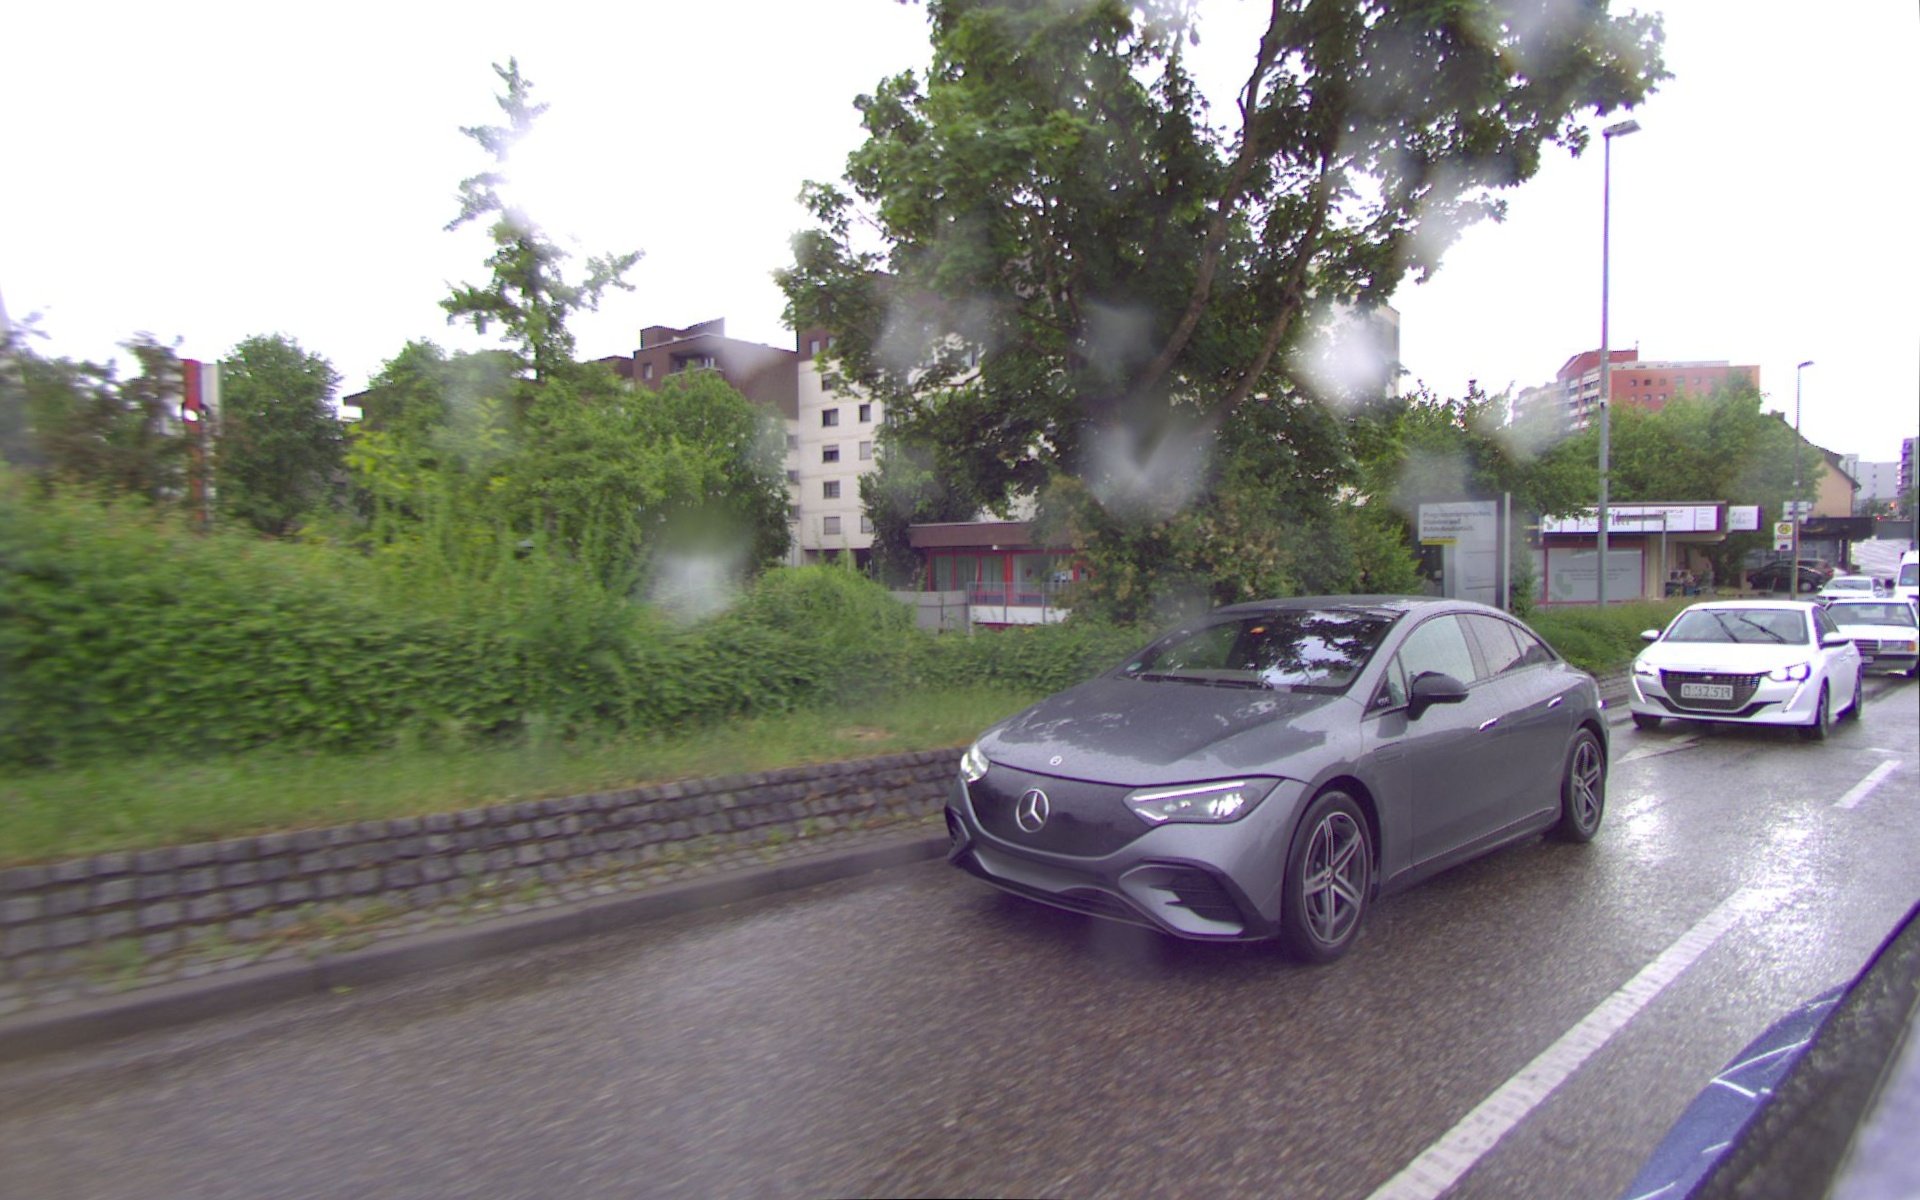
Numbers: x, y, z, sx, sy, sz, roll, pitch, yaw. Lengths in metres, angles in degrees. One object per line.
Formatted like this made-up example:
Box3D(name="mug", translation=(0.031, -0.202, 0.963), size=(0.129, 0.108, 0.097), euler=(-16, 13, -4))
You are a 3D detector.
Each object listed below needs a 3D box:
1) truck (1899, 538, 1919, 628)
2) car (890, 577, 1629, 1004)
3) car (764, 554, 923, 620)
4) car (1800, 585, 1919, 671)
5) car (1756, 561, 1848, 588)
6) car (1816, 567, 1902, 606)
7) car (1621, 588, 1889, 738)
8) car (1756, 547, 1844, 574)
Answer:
Box3D(name="truck", translation=(29.113, -0.525, 29.323), size=(6.092, 2.470, 2.167), euler=(-1, 1, -41))
Box3D(name="car", translation=(1.952, 0.629, 5.654), size=(4.471, 1.462, 1.834), euler=(-1, 0, -41))
Box3D(name="car", translation=(-4.368, -0.580, 39.386), size=(2.774, 2.300, 6.700), euler=(3, 3, 29))
Box3D(name="car", translation=(16.941, 0.454, 18.603), size=(3.670, 1.394, 1.716), euler=(-1, 0, -41))
Box3D(name="car", translation=(48.245, -1.457, 58.042), size=(3.981, 1.438, 1.972), euler=(-1, 1, 40))
Box3D(name="car", translation=(35.357, -0.567, 39.777), size=(3.737, 1.367, 1.998), euler=(-1, 4, -41))
Box3D(name="car", translation=(9.331, 0.603, 11.771), size=(3.966, 1.415, 1.716), euler=(-1, 0, -41))
Box3D(name="car", translation=(49.648, -2.319, 59.895), size=(3.981, 1.438, 1.678), euler=(-1, 1, 40))
